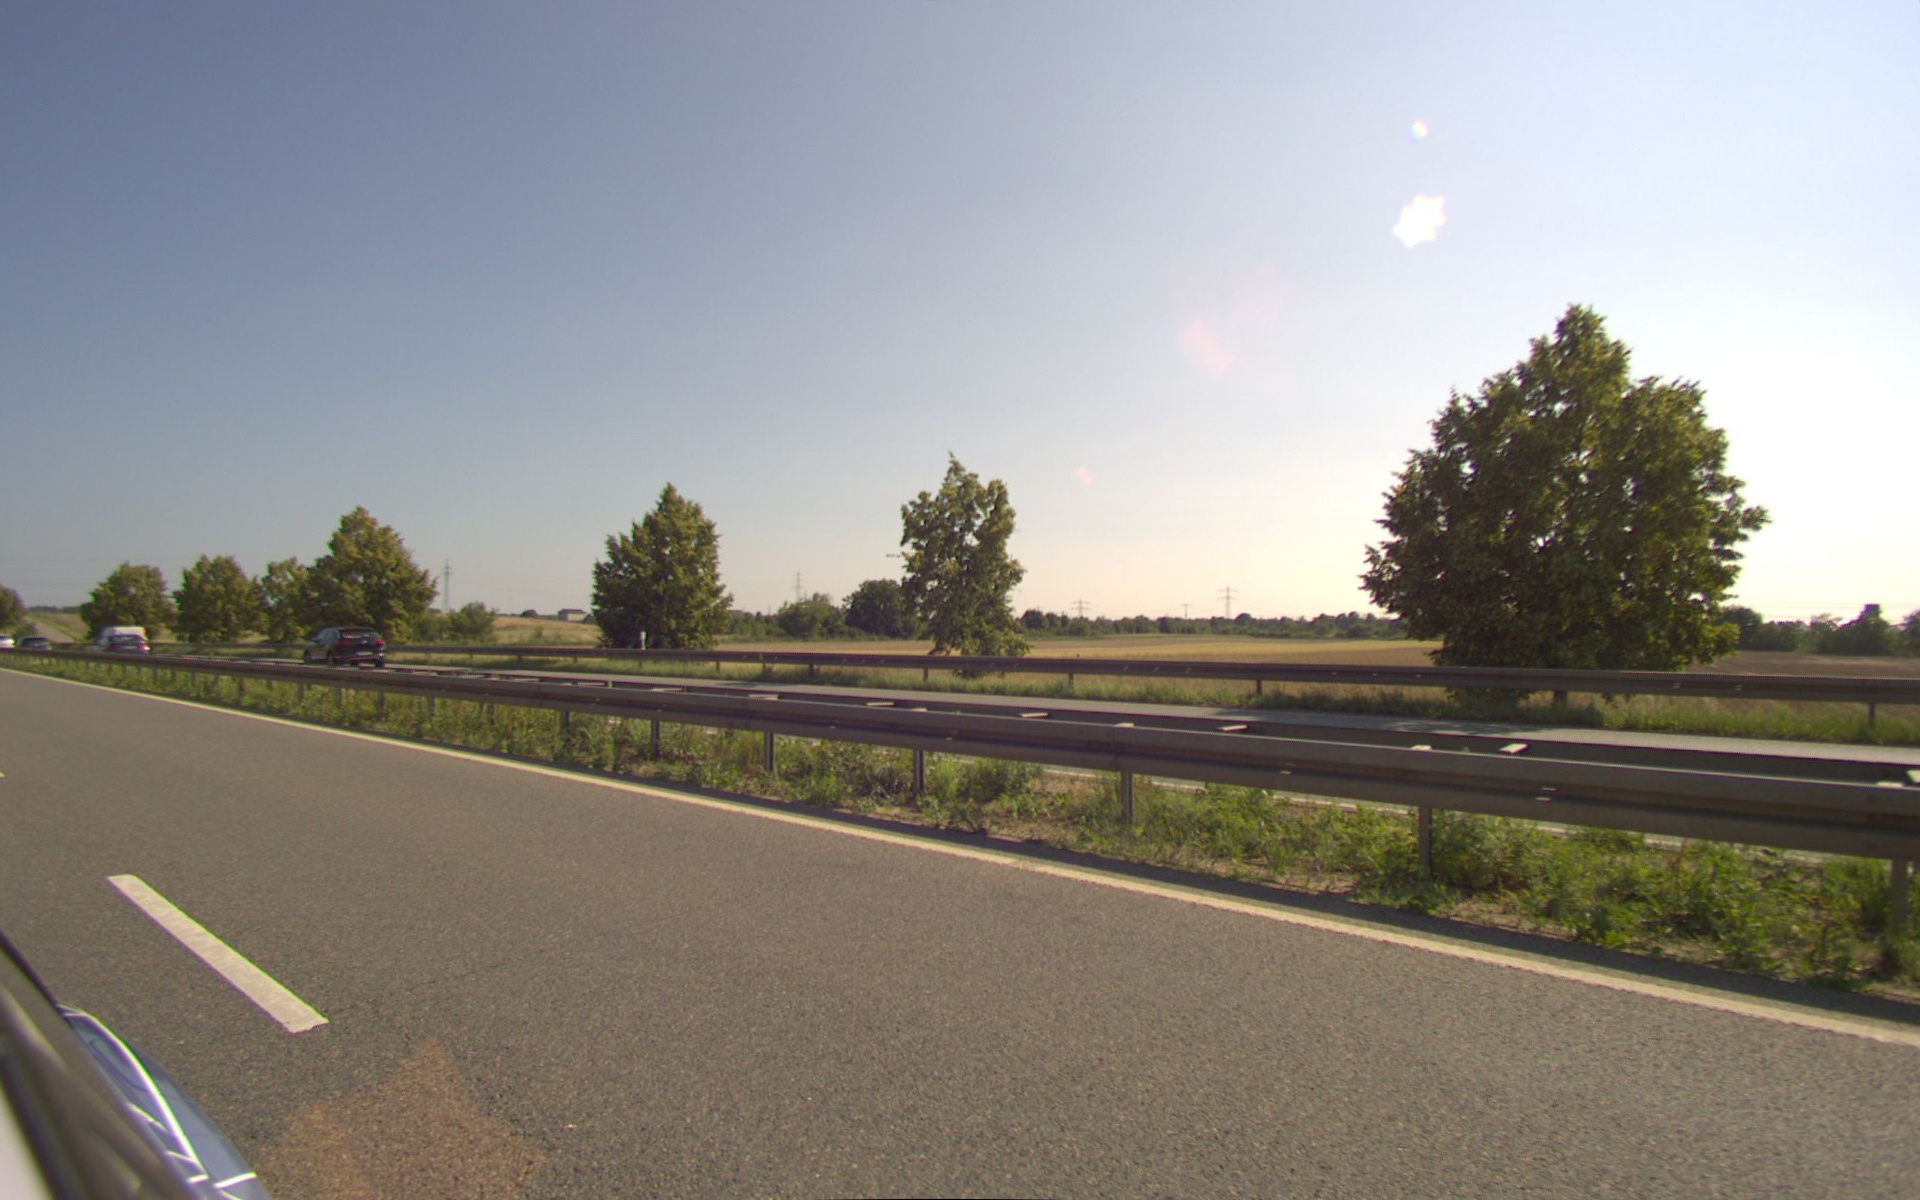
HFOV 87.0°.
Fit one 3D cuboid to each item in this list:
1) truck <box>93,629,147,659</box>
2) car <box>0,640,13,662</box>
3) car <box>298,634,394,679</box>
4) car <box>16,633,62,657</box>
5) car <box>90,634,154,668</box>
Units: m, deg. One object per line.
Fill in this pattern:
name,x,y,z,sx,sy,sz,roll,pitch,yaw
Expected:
truck,-54.985,2.878,66.180,5.289,1.854,1.902,-3,-2,41
car,-76.941,4.050,80.608,4.719,1.677,1.820,-2,-1,42
car,-22.858,2.053,37.621,4.451,1.553,1.794,-2,-2,41
car,-61.528,3.005,67.574,4.035,1.457,1.820,-3,0,41
car,-40.978,2.460,49.444,4.453,1.553,1.793,-2,-2,42
